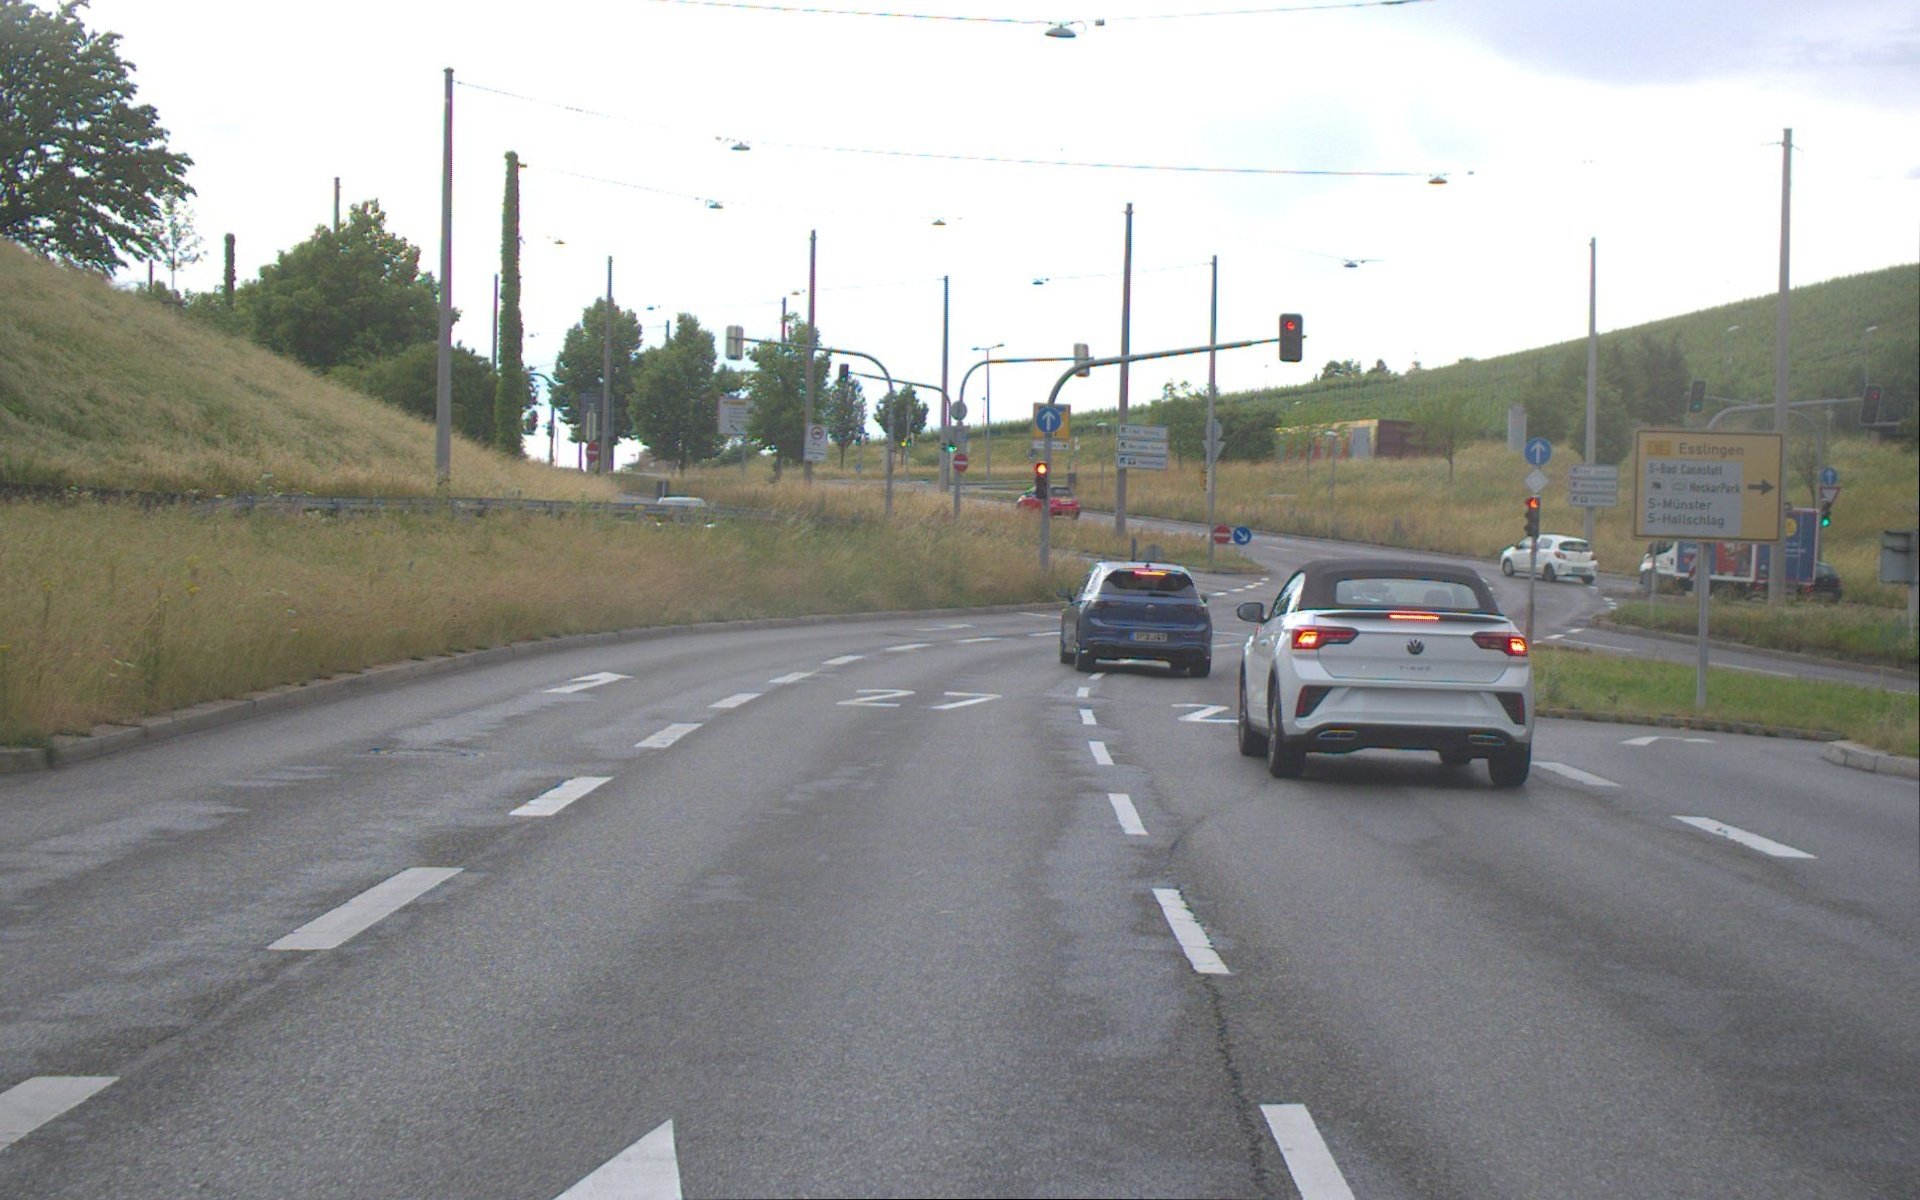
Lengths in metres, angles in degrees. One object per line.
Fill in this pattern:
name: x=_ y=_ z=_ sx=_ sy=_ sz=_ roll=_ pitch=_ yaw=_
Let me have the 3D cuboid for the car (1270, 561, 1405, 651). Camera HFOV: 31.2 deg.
car: x=7.090 y=0.106 z=64.306 sx=1.776 sy=1.514 sz=3.722 roll=4 pitch=1 yaw=16

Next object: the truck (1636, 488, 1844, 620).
truck: x=23.069 y=-1.416 z=101.970 sx=2.847 sy=3.514 sz=6.238 roll=0 pitch=4 yaw=-22

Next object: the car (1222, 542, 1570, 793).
car: x=3.057 y=0.434 z=24.940 sx=1.996 sy=1.573 sz=4.125 roll=3 pitch=0 yaw=1

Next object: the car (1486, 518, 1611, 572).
car: x=19.197 y=-1.814 z=112.361 sx=1.993 sy=1.495 sz=4.565 roll=0 pitch=4 yaw=-20

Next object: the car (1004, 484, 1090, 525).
car: x=3.776 y=-4.193 z=150.428 sx=1.993 sy=1.706 sz=4.565 roll=0 pitch=2 yaw=-23

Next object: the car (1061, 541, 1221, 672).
car: x=2.466 y=0.082 z=46.033 sx=1.926 sy=1.594 sz=4.060 roll=2 pitch=0 yaw=5
